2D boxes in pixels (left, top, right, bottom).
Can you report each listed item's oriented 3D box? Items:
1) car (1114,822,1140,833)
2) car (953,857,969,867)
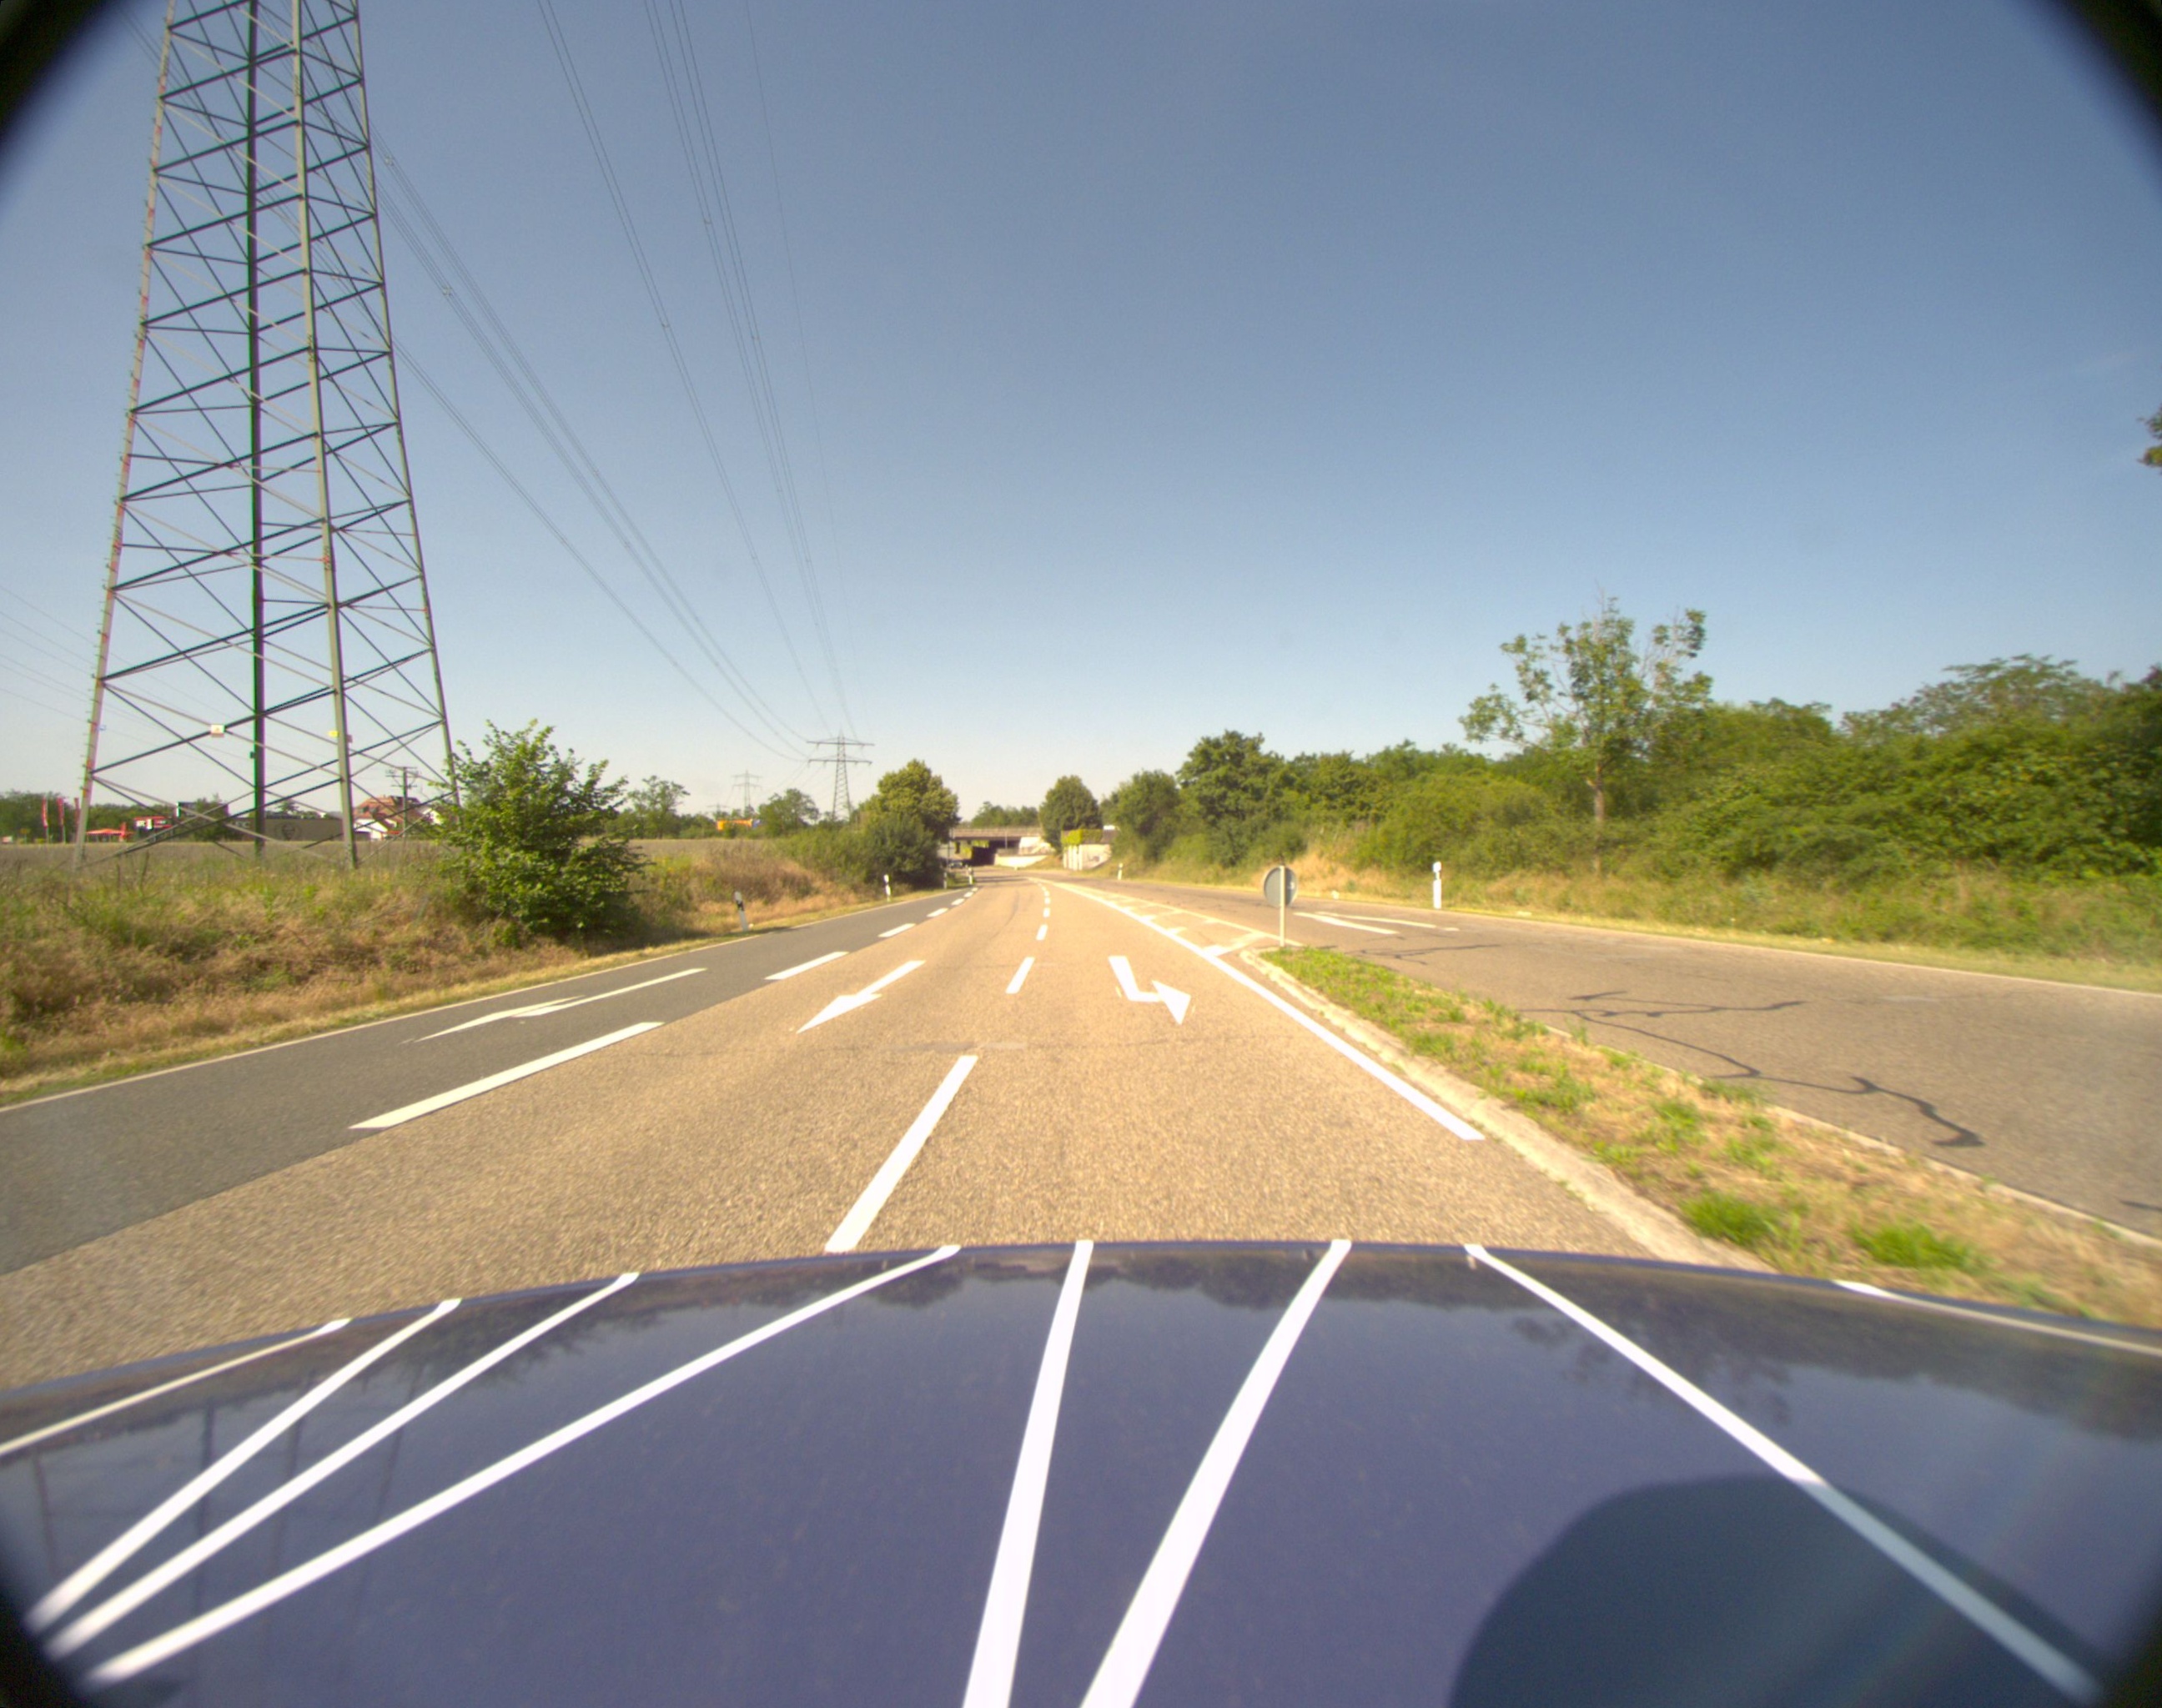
[{"bbox_3d":[8.559,-4.884,141.882,4.328,1.889,1.748,-2,1,24],"label":"car"},{"bbox_3d":[-20.174,1.399,127.853,1.863,1.609,3.641,-1,0,-23],"label":"car"}]
